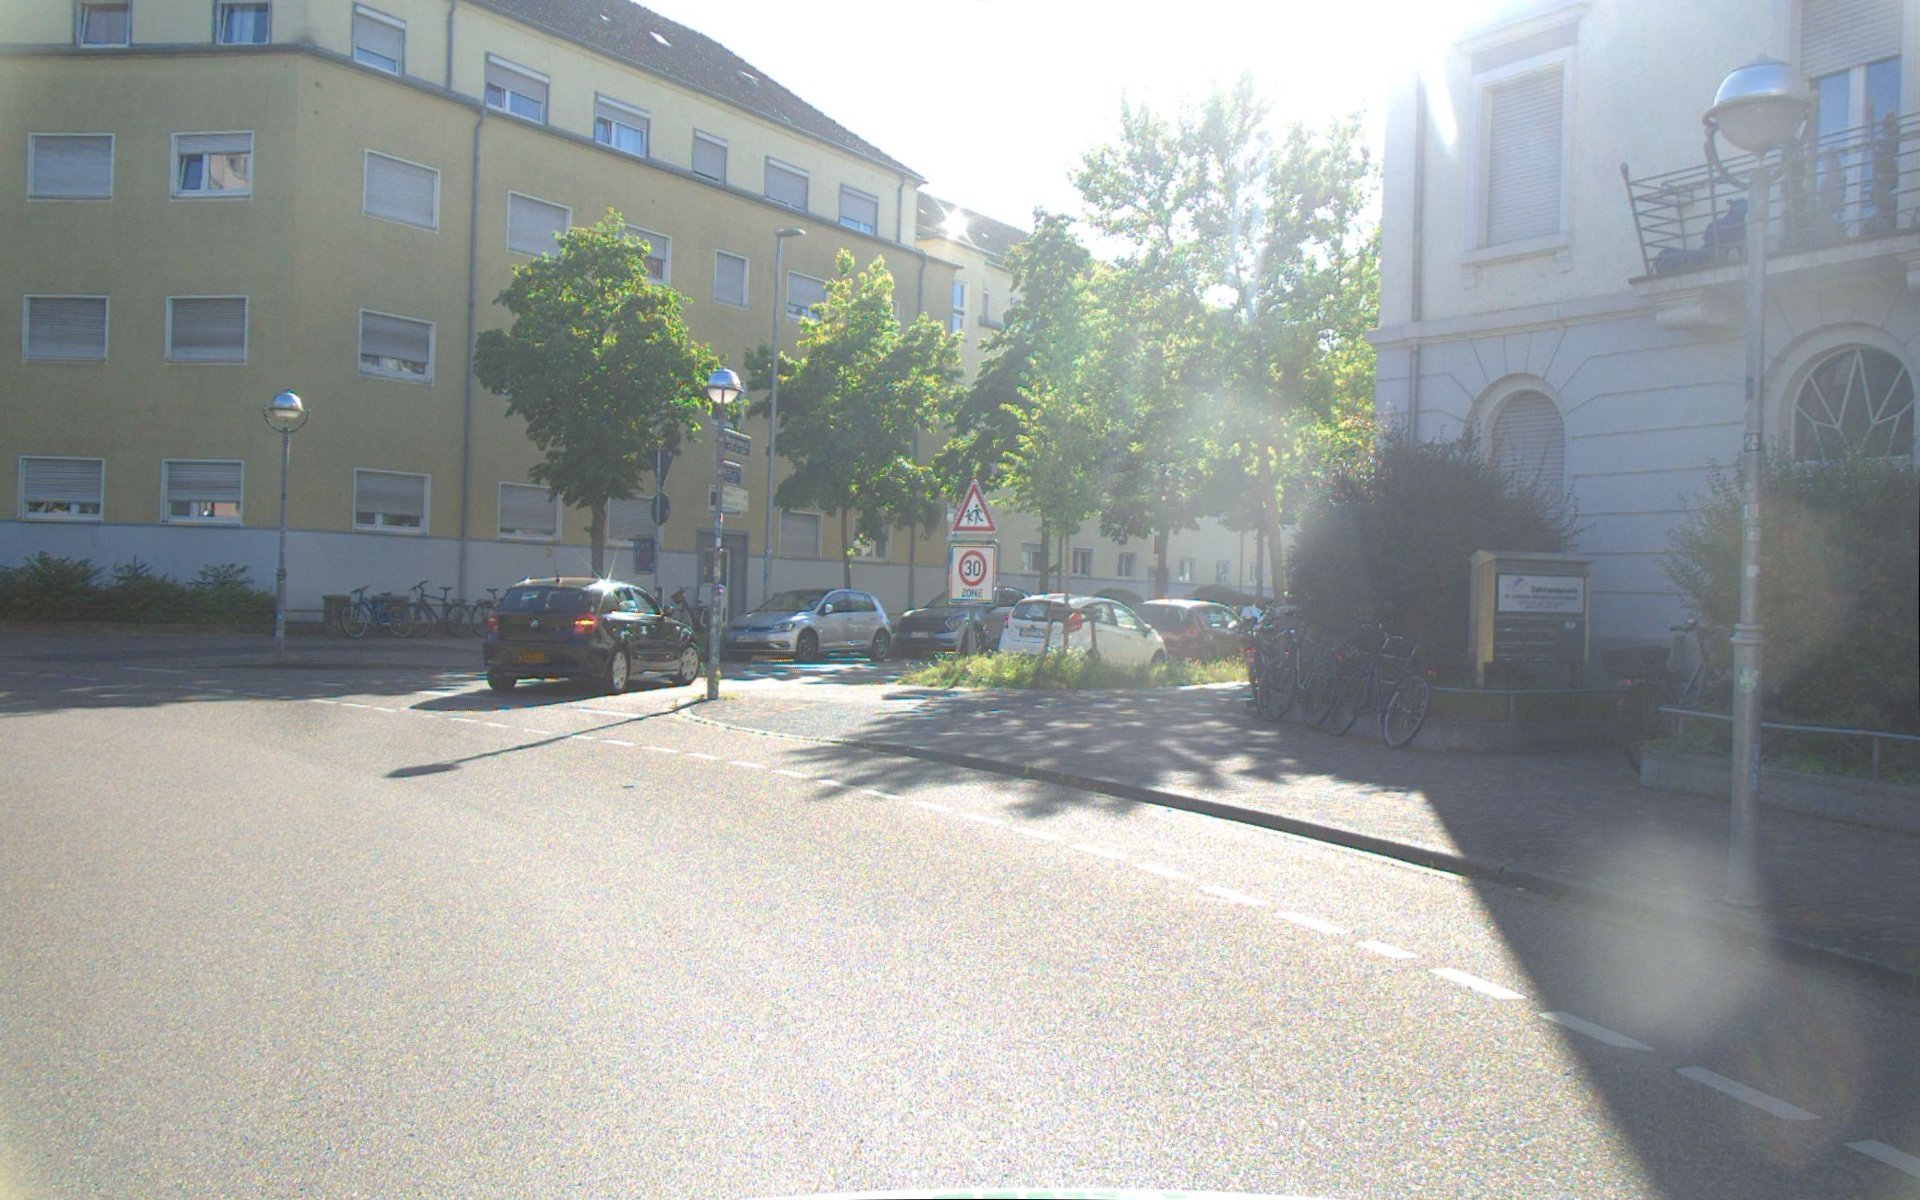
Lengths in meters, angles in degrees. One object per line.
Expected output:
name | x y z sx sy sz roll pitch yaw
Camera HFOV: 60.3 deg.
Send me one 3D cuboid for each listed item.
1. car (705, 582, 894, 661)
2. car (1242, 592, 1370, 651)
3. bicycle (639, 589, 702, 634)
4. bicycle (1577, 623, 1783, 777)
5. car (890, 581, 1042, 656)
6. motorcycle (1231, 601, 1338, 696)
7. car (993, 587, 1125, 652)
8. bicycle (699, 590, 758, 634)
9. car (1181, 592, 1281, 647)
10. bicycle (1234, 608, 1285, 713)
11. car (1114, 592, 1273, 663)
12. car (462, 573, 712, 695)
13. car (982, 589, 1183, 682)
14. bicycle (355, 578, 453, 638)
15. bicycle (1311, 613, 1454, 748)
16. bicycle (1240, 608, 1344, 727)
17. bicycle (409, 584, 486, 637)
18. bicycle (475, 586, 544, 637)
car | -3.111 0.423 32.895 1.764 1.436 3.992 1 0 30
car | 8.072 0.489 38.338 1.762 1.277 3.710 1 0 32
bicycle | -6.817 0.280 38.968 0.492 1.044 1.439 1 0 44
bicycle | 5.591 0.748 12.826 1.655 1.127 0.496 0 0 -25
car | 0.202 0.429 38.104 1.761 1.603 3.992 1 -1 30
motorcycle | 4.348 0.626 22.079 0.870 1.212 1.485 -1 -1 35
car | 2.549 0.494 41.785 1.760 1.537 3.993 1 0 29
bicycle | -5.659 0.302 40.473 0.492 1.044 1.439 1 0 44
car | 8.412 0.599 51.083 1.761 1.603 3.992 1 -1 30
bicycle | 3.491 0.670 19.218 0.488 1.127 1.952 1 1 13
car | 4.630 0.526 32.479 1.762 1.277 3.710 1 0 32
car | -4.762 0.404 21.731 1.825 1.444 4.003 0 0 9
car | 2.192 0.590 28.586 1.762 1.437 3.988 2 0 33
bicycle | -10.937 0.162 32.563 1.772 1.127 0.496 1 0 -26
bicycle | 3.839 0.702 15.165 0.490 1.127 1.794 1 1 -13
bicycle | 3.391 0.662 17.031 0.489 1.127 1.797 1 1 -7
bicycle | -10.449 0.208 33.735 1.427 1.044 0.496 1 0 -26
bicycle | -9.527 0.236 34.993 0.489 1.044 1.446 1 0 31
